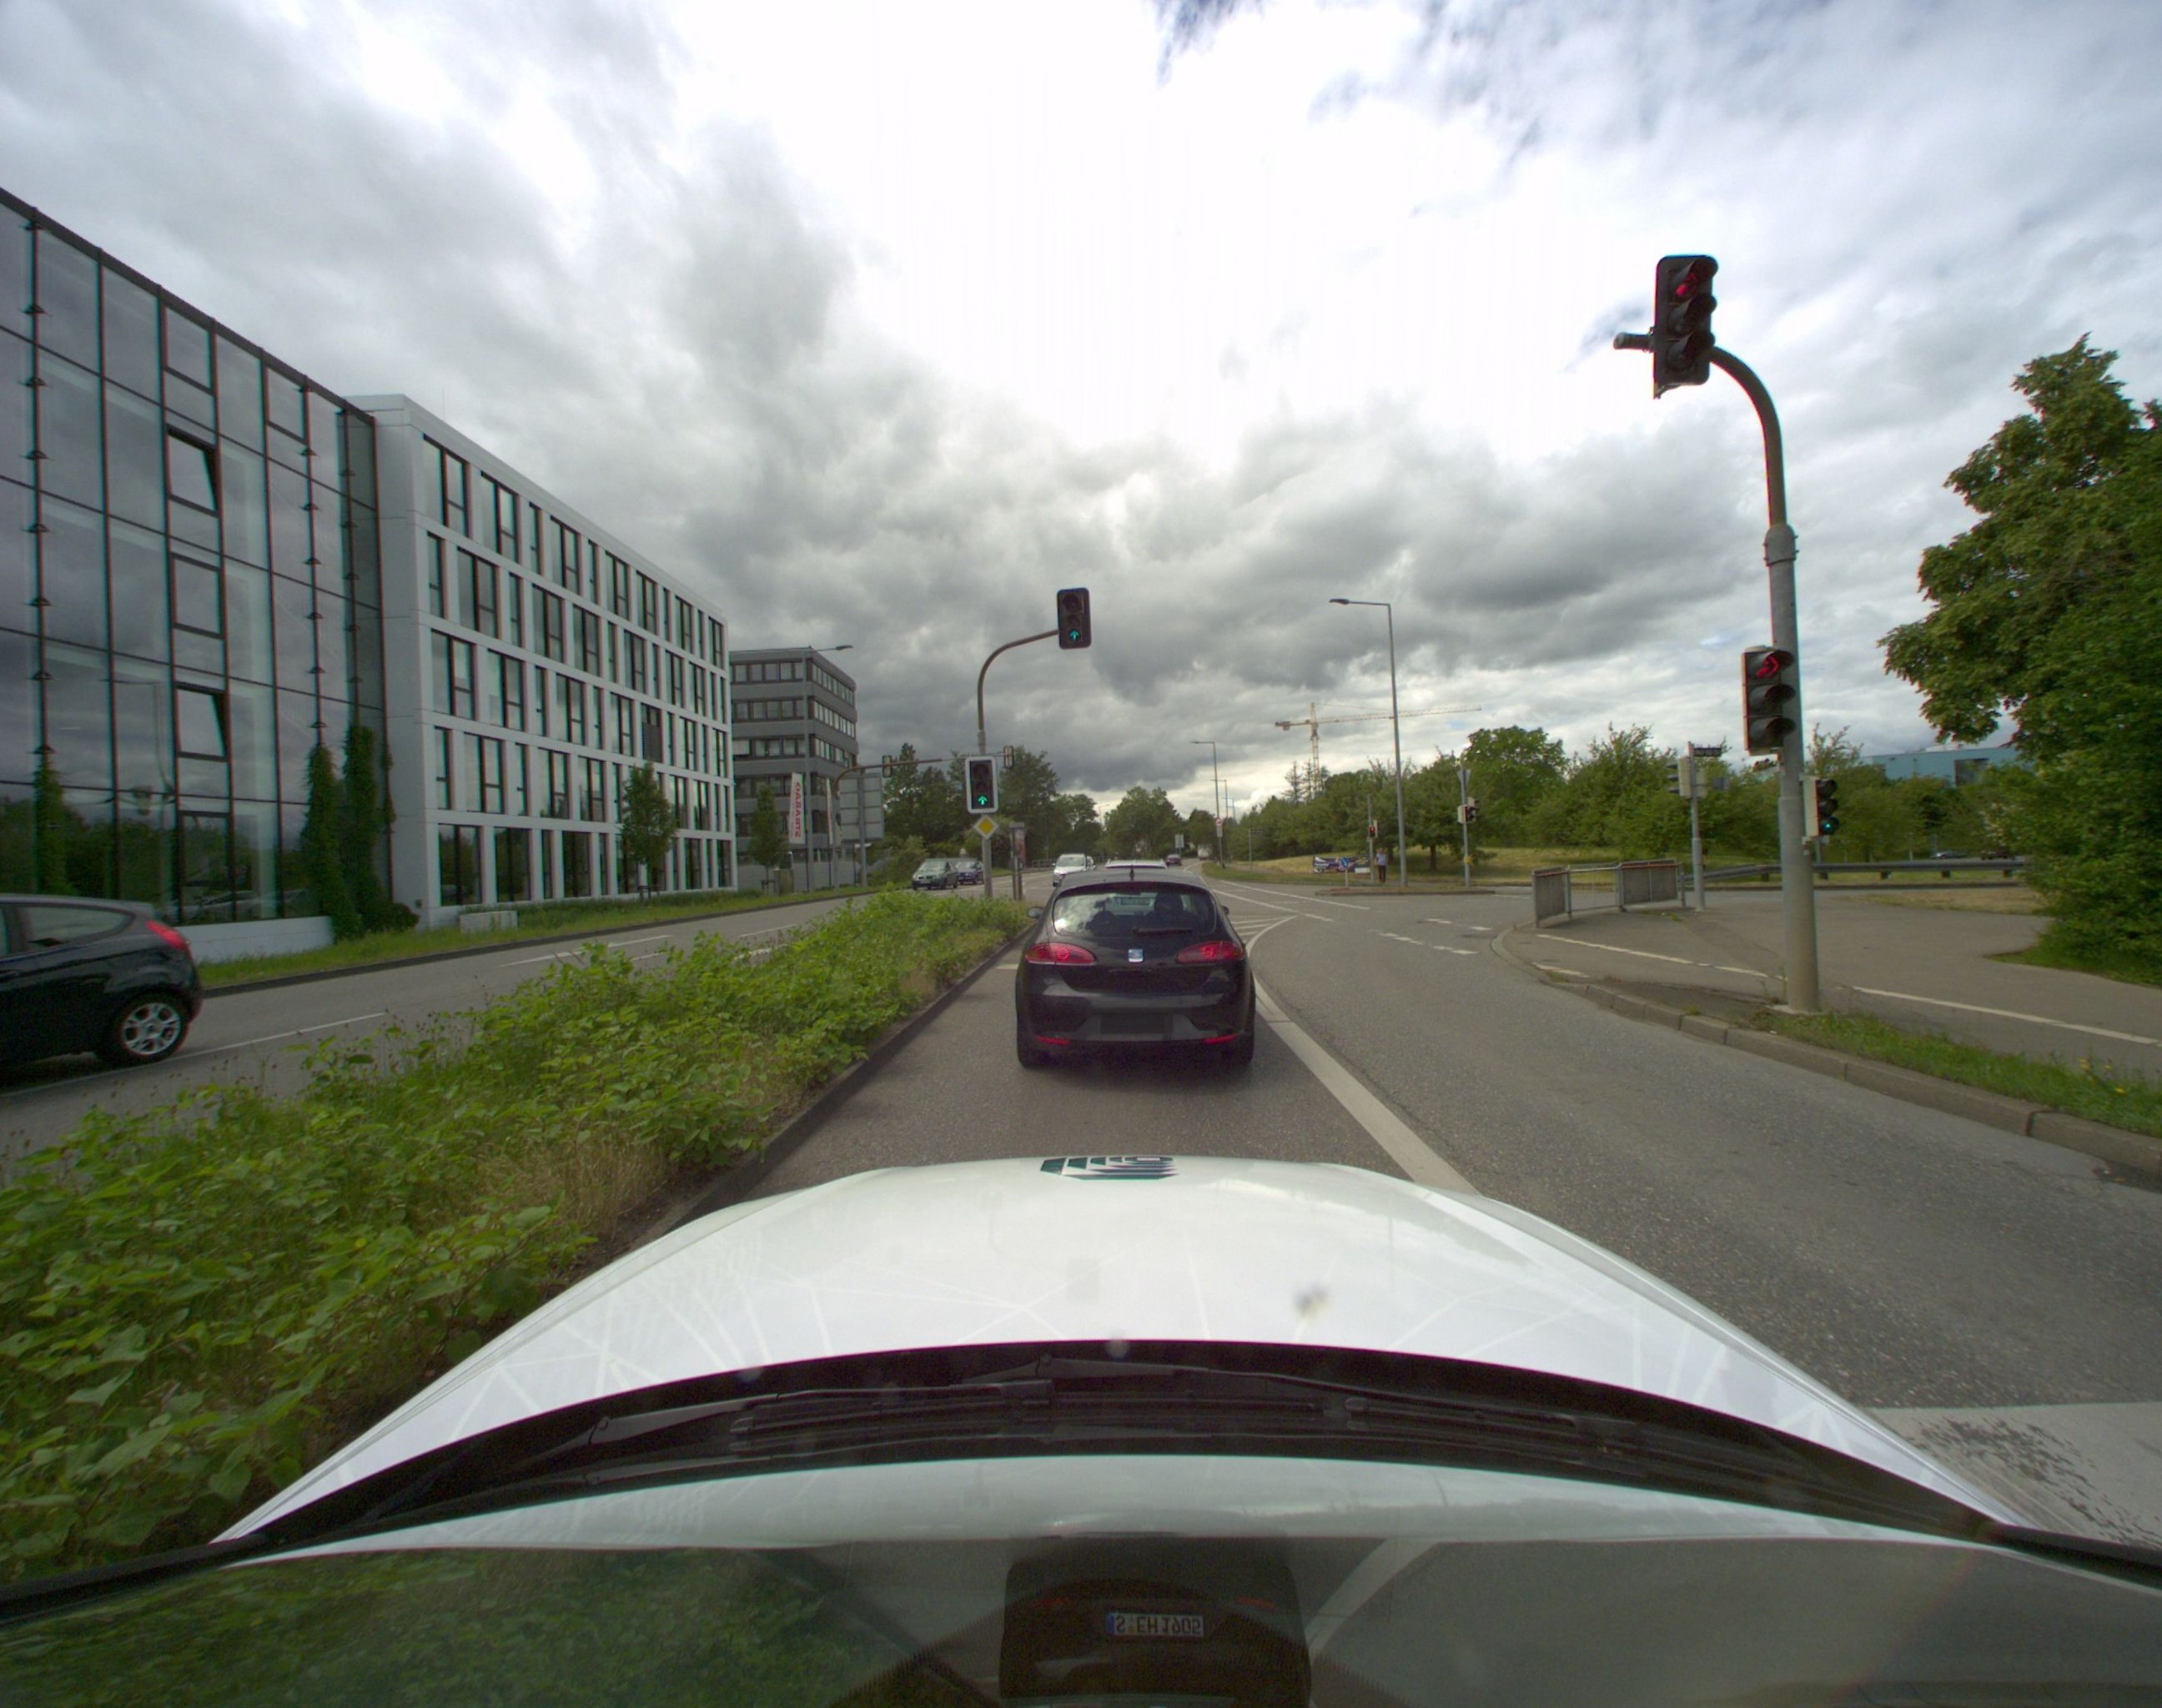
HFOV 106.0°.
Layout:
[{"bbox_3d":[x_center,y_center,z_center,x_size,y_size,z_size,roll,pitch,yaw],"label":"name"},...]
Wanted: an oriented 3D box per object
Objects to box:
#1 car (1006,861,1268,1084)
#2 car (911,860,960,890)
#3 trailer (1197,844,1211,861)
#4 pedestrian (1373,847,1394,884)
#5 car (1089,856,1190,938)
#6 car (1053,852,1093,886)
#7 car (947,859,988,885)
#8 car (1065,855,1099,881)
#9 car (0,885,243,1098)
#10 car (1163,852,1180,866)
[{"bbox_3d":[0.424,0.796,7.081,1.705,1.417,3.461,-1,0,2],"label":"car"},{"bbox_3d":[-7.418,1.027,41.865,1.598,1.432,3.757,-1,0,4],"label":"car"},{"bbox_3d":[22.784,-0.316,150.311,2.476,3.073,5.601,-1,-1,9],"label":"trailer"},{"bbox_3d":[15.026,0.552,40.423,0.714,1.793,1.045,-1,-1,5],"label":"pedestrian"},{"bbox_3d":[1.160,0.805,16.666,1.827,1.467,3.754,-1,-1,3],"label":"car"},{"bbox_3d":[-0.392,0.774,44.403,1.812,1.686,4.649,-1,0,4],"label":"car"},{"bbox_3d":[-6.712,1.016,48.411,1.546,1.419,3.901,-1,0,5],"label":"car"},{"bbox_3d":[0.087,0.845,50.414,1.652,1.518,4.091,-1,0,6],"label":"car"},{"bbox_3d":[-8.429,0.989,5.401,1.749,1.446,3.889,0,-1,-2],"label":"car"},{"bbox_3d":[11.083,0.573,100.368,1.984,1.565,4.478,-2,0,6],"label":"car"}]
